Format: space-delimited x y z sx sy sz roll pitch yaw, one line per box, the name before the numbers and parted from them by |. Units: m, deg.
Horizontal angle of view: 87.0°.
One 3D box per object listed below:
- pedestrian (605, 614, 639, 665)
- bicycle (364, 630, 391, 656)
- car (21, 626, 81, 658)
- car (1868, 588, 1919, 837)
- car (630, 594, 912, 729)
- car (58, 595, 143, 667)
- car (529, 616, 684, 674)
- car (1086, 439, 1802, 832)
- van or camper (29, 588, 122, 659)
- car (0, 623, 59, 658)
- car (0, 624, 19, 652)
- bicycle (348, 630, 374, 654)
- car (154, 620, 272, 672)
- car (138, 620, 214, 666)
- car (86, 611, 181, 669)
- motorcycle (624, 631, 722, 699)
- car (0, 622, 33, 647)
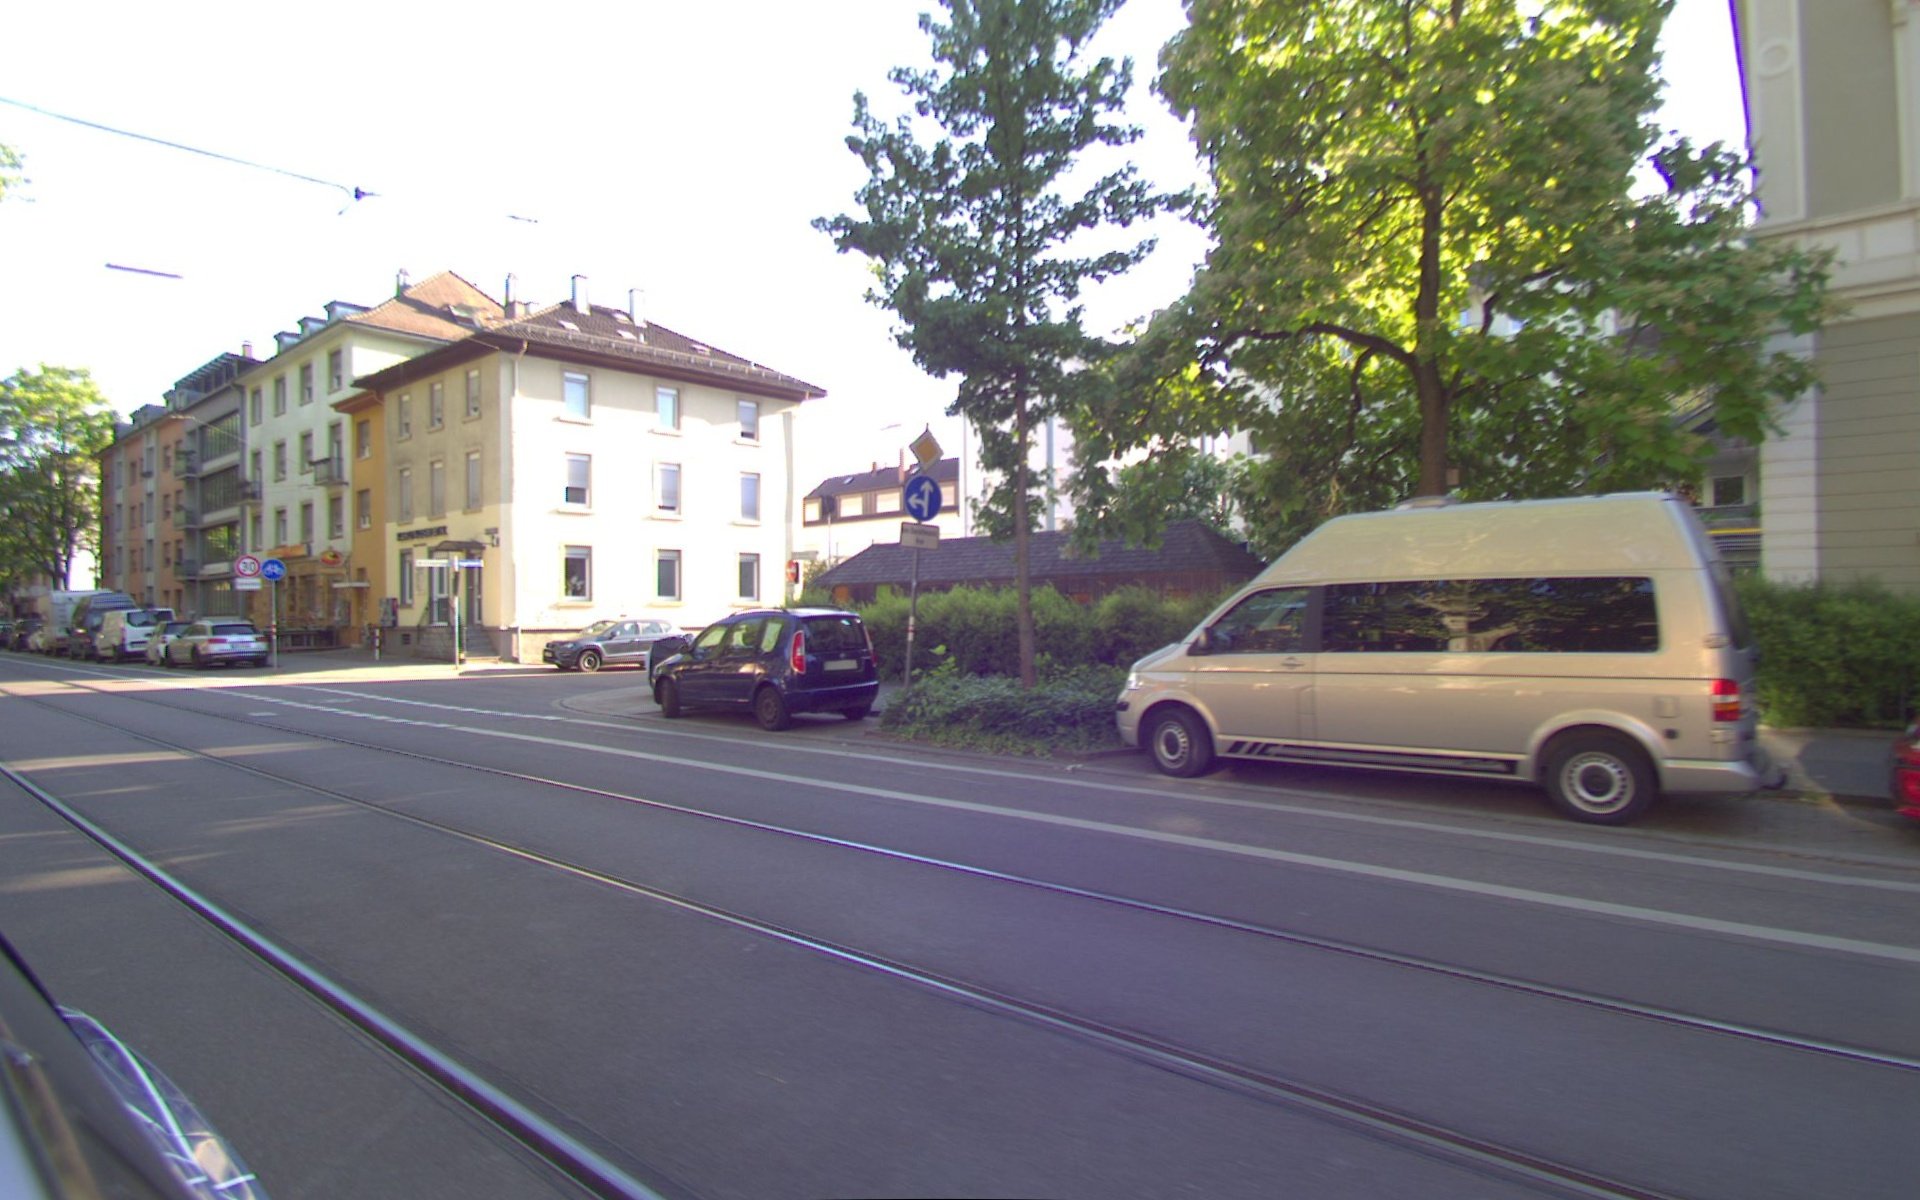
pedestrian | -11.102 1.275 33.265 0.753 1.599 0.764 3 2 42
bicycle | -22.034 1.616 38.257 1.646 0.935 0.358 -1 -1 41
car | -46.349 2.130 51.599 3.470 1.526 1.769 -1 0 39
car | 7.816 0.672 5.853 3.704 1.551 1.668 -1 -1 40
car | -2.895 0.825 14.948 4.261 1.703 1.971 -2 -1 43
car | -36.550 1.295 43.001 4.544 2.766 1.903 -1 3 41
car | -10.678 1.322 30.743 1.966 1.630 4.016 -1 -2 44
car | 4.020 0.281 9.098 5.337 2.527 2.281 -1 -1 39
van or camper | -41.595 1.084 47.539 5.988 2.999 2.392 -1 2 42
car | -50.741 2.171 55.147 4.431 1.767 1.769 -1 0 40
car | -61.896 2.442 64.814 4.431 1.682 1.769 -1 0 40
bicycle | -23.301 1.628 39.375 1.646 0.935 0.358 -1 -1 41
car | -23.917 1.440 32.349 4.934 1.504 1.754 -1 0 38
car | -27.466 1.470 35.453 2.881 1.504 1.555 -1 0 41
car | -31.965 1.503 39.099 4.936 2.062 1.904 -1 0 40
motorcycle | -5.323 1.196 18.692 2.150 1.148 0.665 -4 0 43
car | -58.241 2.101 61.833 4.431 1.482 1.769 -1 0 40
